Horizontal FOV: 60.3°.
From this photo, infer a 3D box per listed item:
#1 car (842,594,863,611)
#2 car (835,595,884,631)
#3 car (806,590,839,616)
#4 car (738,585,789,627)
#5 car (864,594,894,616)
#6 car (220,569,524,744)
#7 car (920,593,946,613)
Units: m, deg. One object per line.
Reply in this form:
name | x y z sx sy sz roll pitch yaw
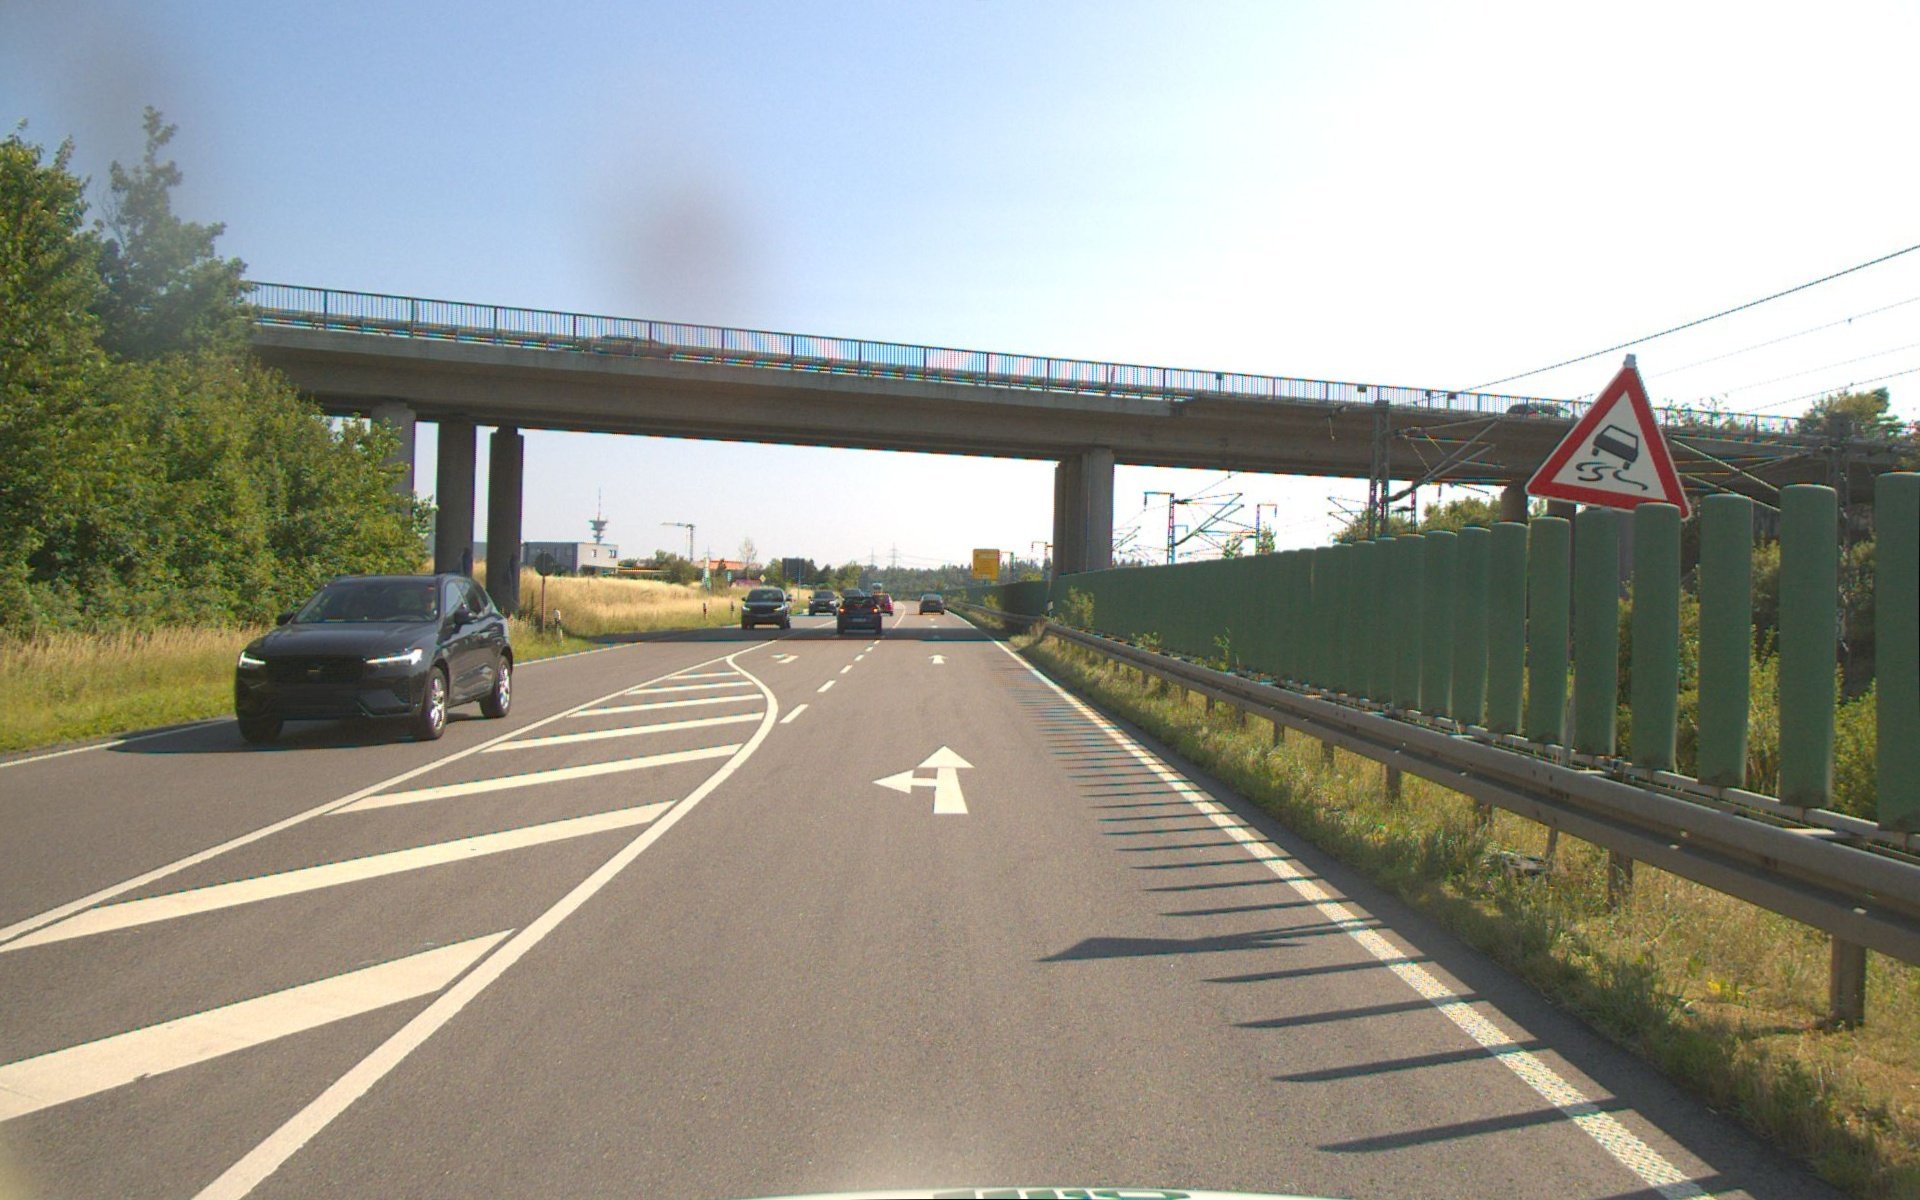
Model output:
car | -10.256 0.237 158.026 1.856 1.659 3.999 0 0 -1
car | -3.686 0.481 61.300 1.629 1.283 3.999 0 0 -1
car | -8.960 0.184 107.982 1.856 1.659 3.999 0 0 -1
car | -8.099 0.225 68.502 1.808 1.659 3.998 1 1 -3
car | -5.416 0.316 111.453 1.856 1.443 3.999 0 0 -1
car | -6.068 0.509 17.653 1.884 1.621 4.427 0 0 -4
car | -1.927 0.224 119.600 1.856 1.443 3.999 0 0 -1
